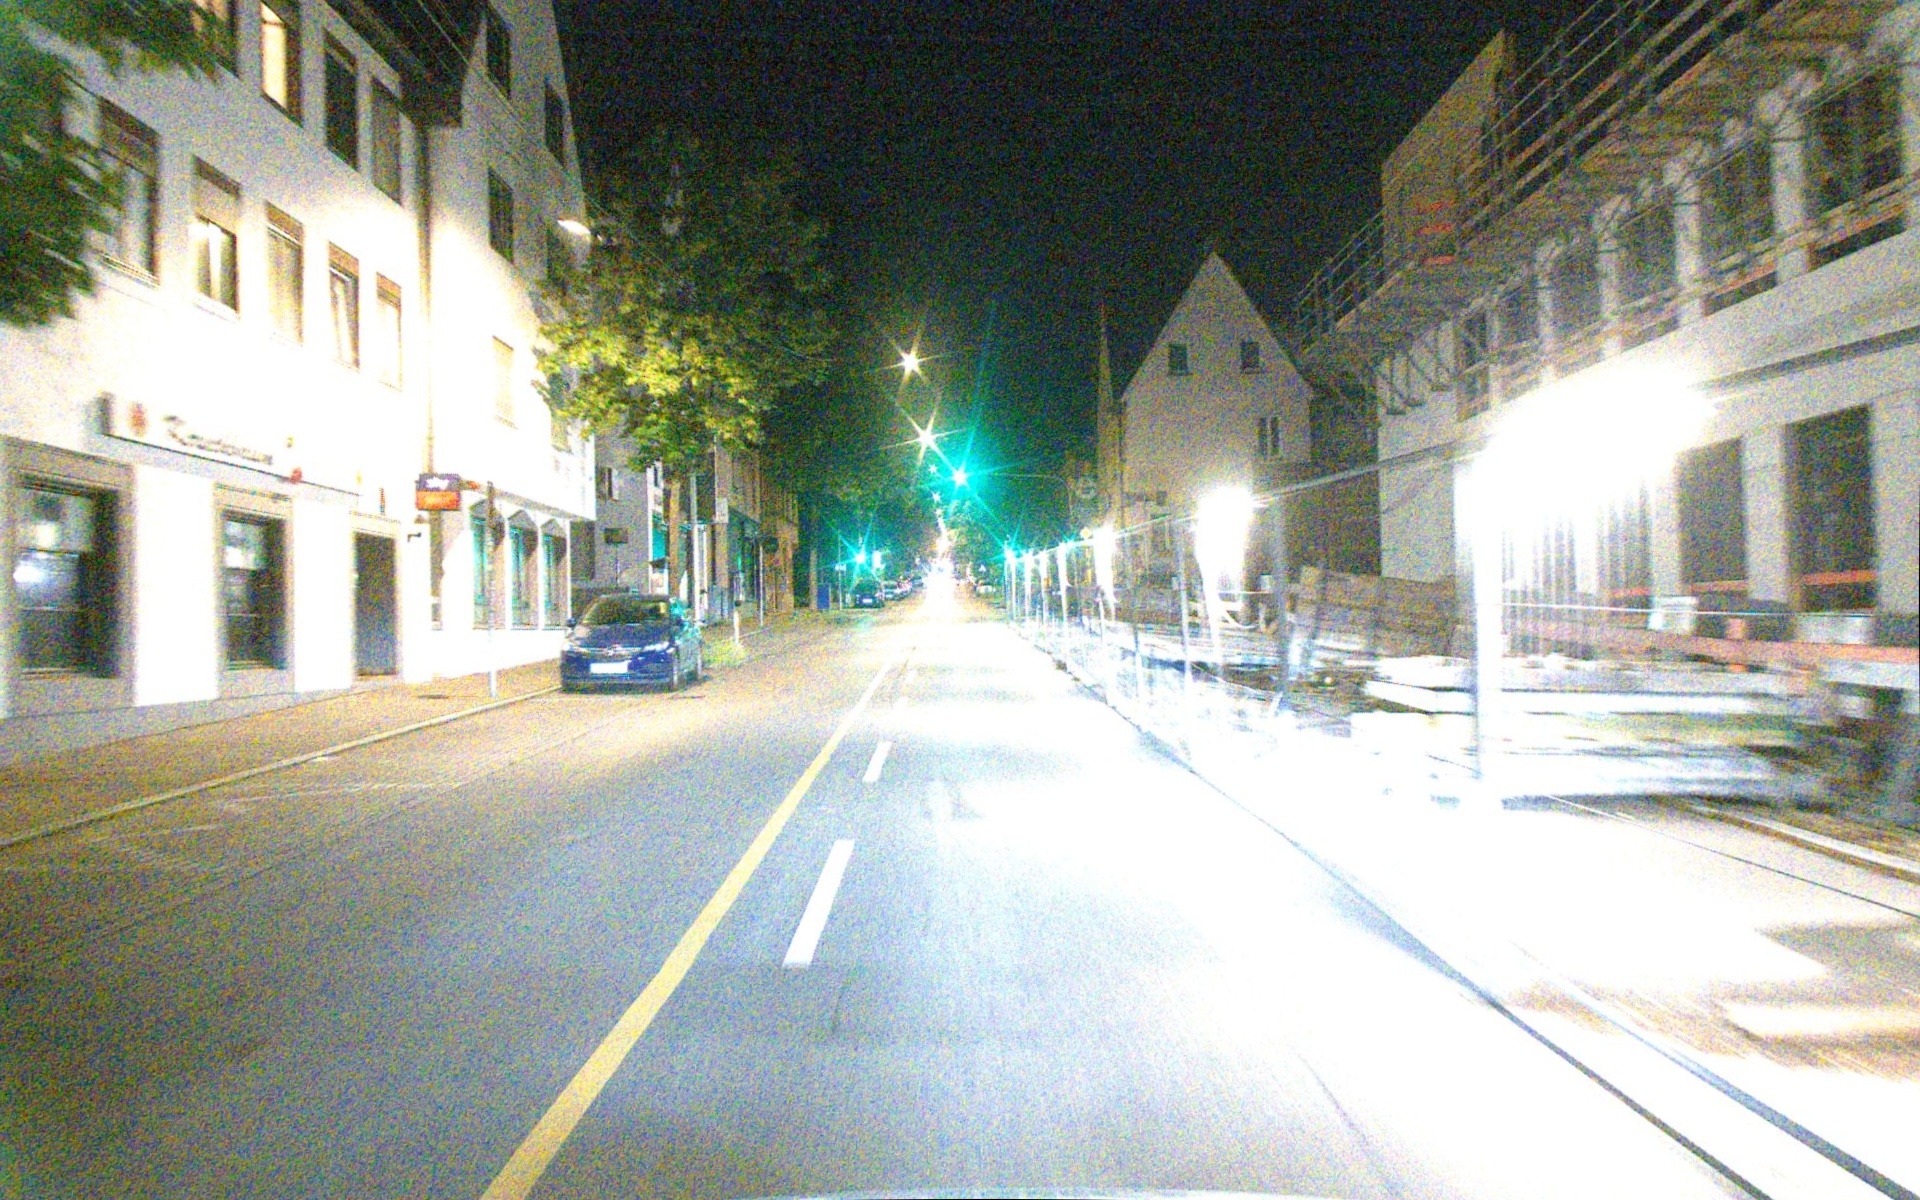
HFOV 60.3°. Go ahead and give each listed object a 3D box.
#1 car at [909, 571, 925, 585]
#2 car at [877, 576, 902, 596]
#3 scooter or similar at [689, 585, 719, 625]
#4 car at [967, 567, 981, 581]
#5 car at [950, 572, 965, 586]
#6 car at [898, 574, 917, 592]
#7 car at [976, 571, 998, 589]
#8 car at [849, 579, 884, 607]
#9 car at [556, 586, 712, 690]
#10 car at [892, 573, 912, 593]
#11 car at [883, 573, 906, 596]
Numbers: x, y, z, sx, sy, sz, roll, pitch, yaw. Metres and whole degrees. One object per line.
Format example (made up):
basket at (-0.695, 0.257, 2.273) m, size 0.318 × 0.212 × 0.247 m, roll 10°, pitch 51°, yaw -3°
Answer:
car at (-5.848, -3.054, 226.238) m, size 2.034 × 1.846 × 4.205 m, roll -1°, pitch 1°, yaw 1°
car at (-5.787, -1.136, 135.689) m, size 1.835 × 1.571 × 4.204 m, roll -1°, pitch 1°, yaw 0°
scooter or similar at (-8.071, 0.172, 52.198) m, size 0.517 × 1.185 × 2.507 m, roll -3°, pitch -1°, yaw -1°
car at (1.960, -3.755, 236.357) m, size 1.835 × 1.940 × 4.204 m, roll -1°, pitch 1°, yaw 0°
car at (-0.339, -2.866, 225.796) m, size 1.835 × 1.846 × 4.205 m, roll -1°, pitch 1°, yaw 1°
car at (-5.643, -1.871, 178.017) m, size 1.835 × 1.846 × 4.205 m, roll -1°, pitch 1°, yaw 1°
car at (2.442, -1.776, 148.855) m, size 1.835 × 1.571 × 4.204 m, roll -1°, pitch 1°, yaw 0°
car at (-5.536, -0.430, 98.331) m, size 1.835 × 1.571 × 4.204 m, roll -1°, pitch 1°, yaw 0°
car at (-5.081, 0.540, 26.311) m, size 1.637 × 1.468 × 4.204 m, roll -1°, pitch 1°, yaw 0°
car at (-5.600, -1.653, 160.063) m, size 1.835 × 1.846 × 4.204 m, roll -1°, pitch 1°, yaw 0°
car at (-5.591, -1.361, 141.763) m, size 1.835 × 1.846 × 4.205 m, roll -1°, pitch 1°, yaw 0°
